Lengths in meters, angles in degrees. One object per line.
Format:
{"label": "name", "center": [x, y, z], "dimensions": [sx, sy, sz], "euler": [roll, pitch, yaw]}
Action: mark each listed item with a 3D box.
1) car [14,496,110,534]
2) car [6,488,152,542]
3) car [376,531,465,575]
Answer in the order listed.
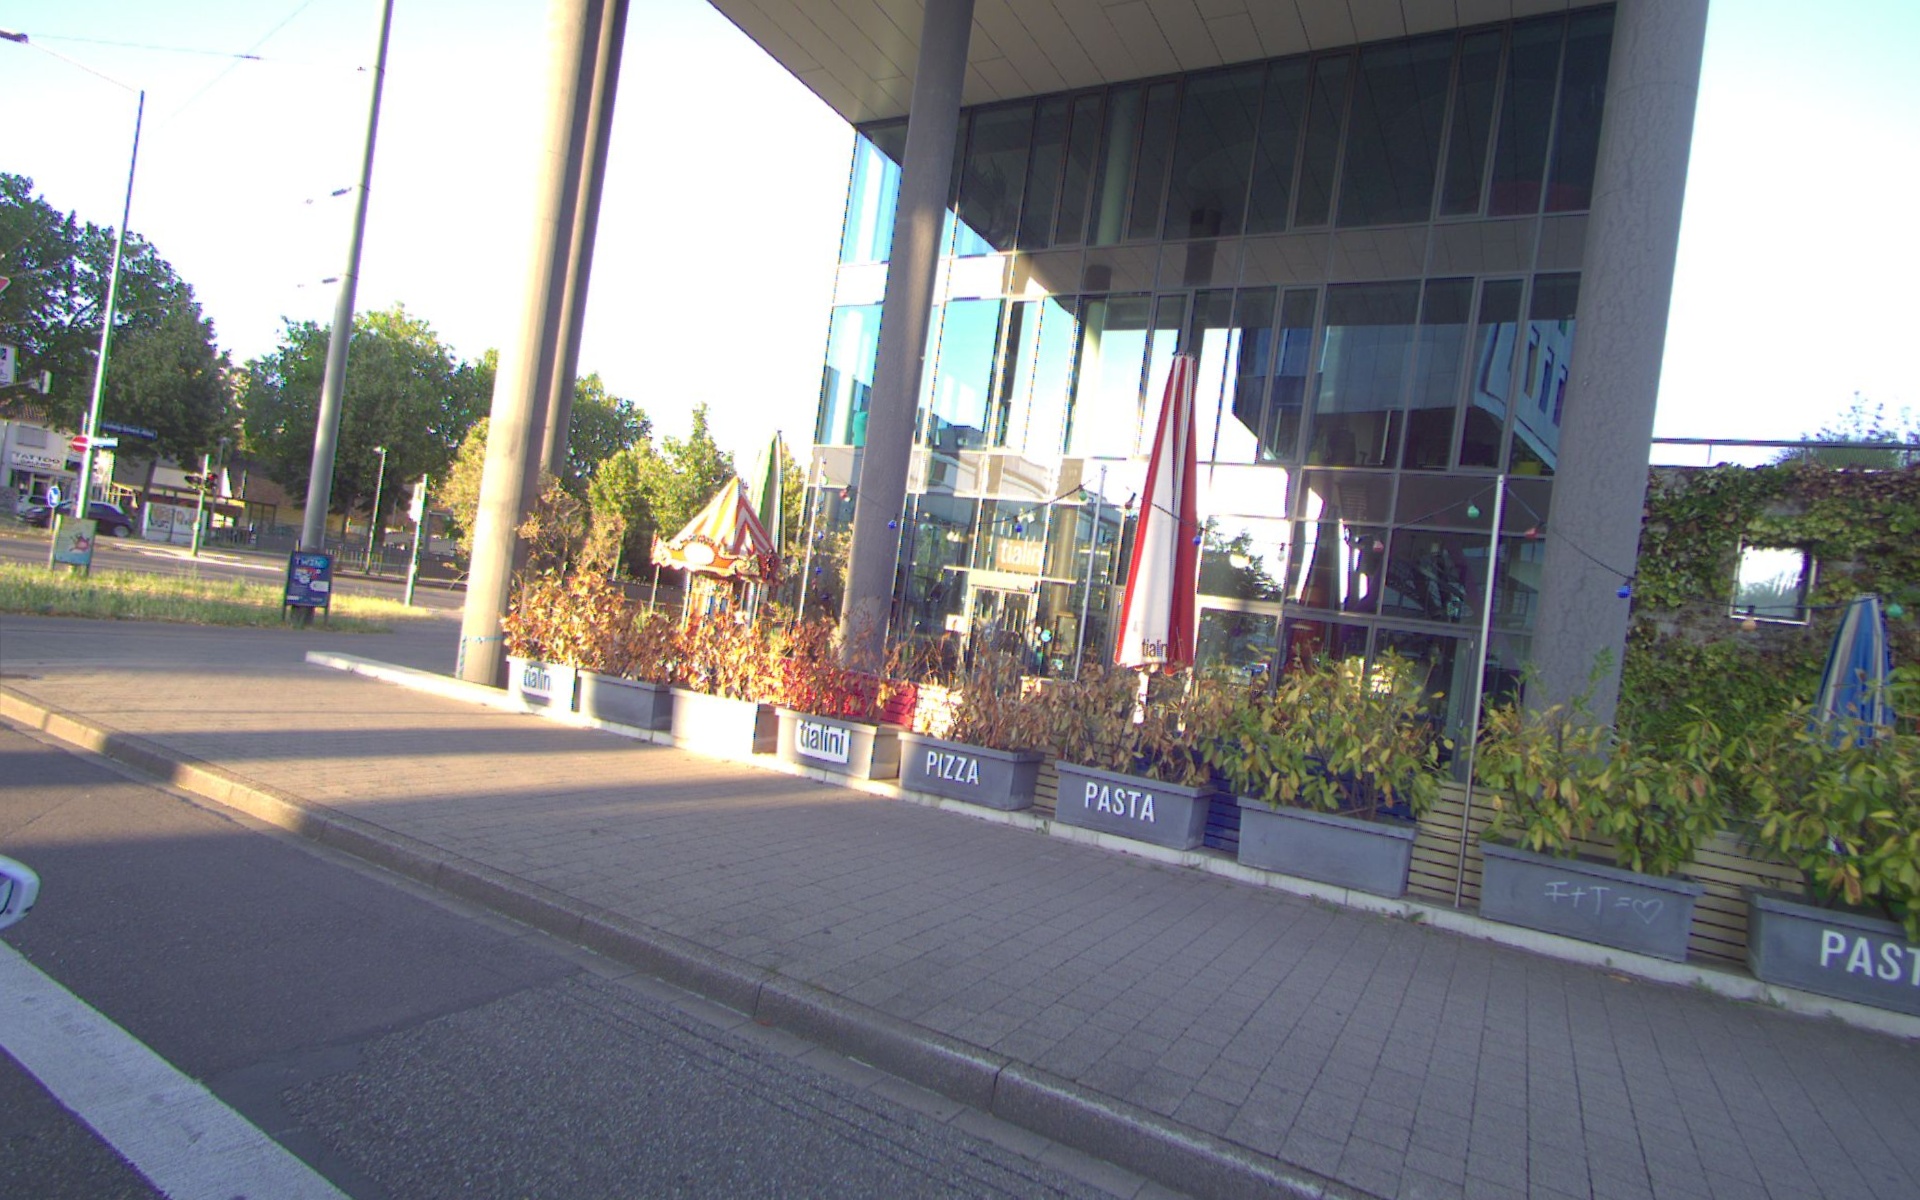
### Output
{"label": "car", "center": [-50.087, -4.720, 56.165], "dimensions": [1.641, 1.456, 3.736], "euler": [6, -2, 41]}
{"label": "car", "center": [-37.640, -3.617, 43.090], "dimensions": [1.777, 1.513, 4.333], "euler": [6, -2, 37]}
{"label": "car", "center": [-42.586, -3.683, 79.544], "dimensions": [2.197, 2.581, 5.594], "euler": [7, -2, 39]}
